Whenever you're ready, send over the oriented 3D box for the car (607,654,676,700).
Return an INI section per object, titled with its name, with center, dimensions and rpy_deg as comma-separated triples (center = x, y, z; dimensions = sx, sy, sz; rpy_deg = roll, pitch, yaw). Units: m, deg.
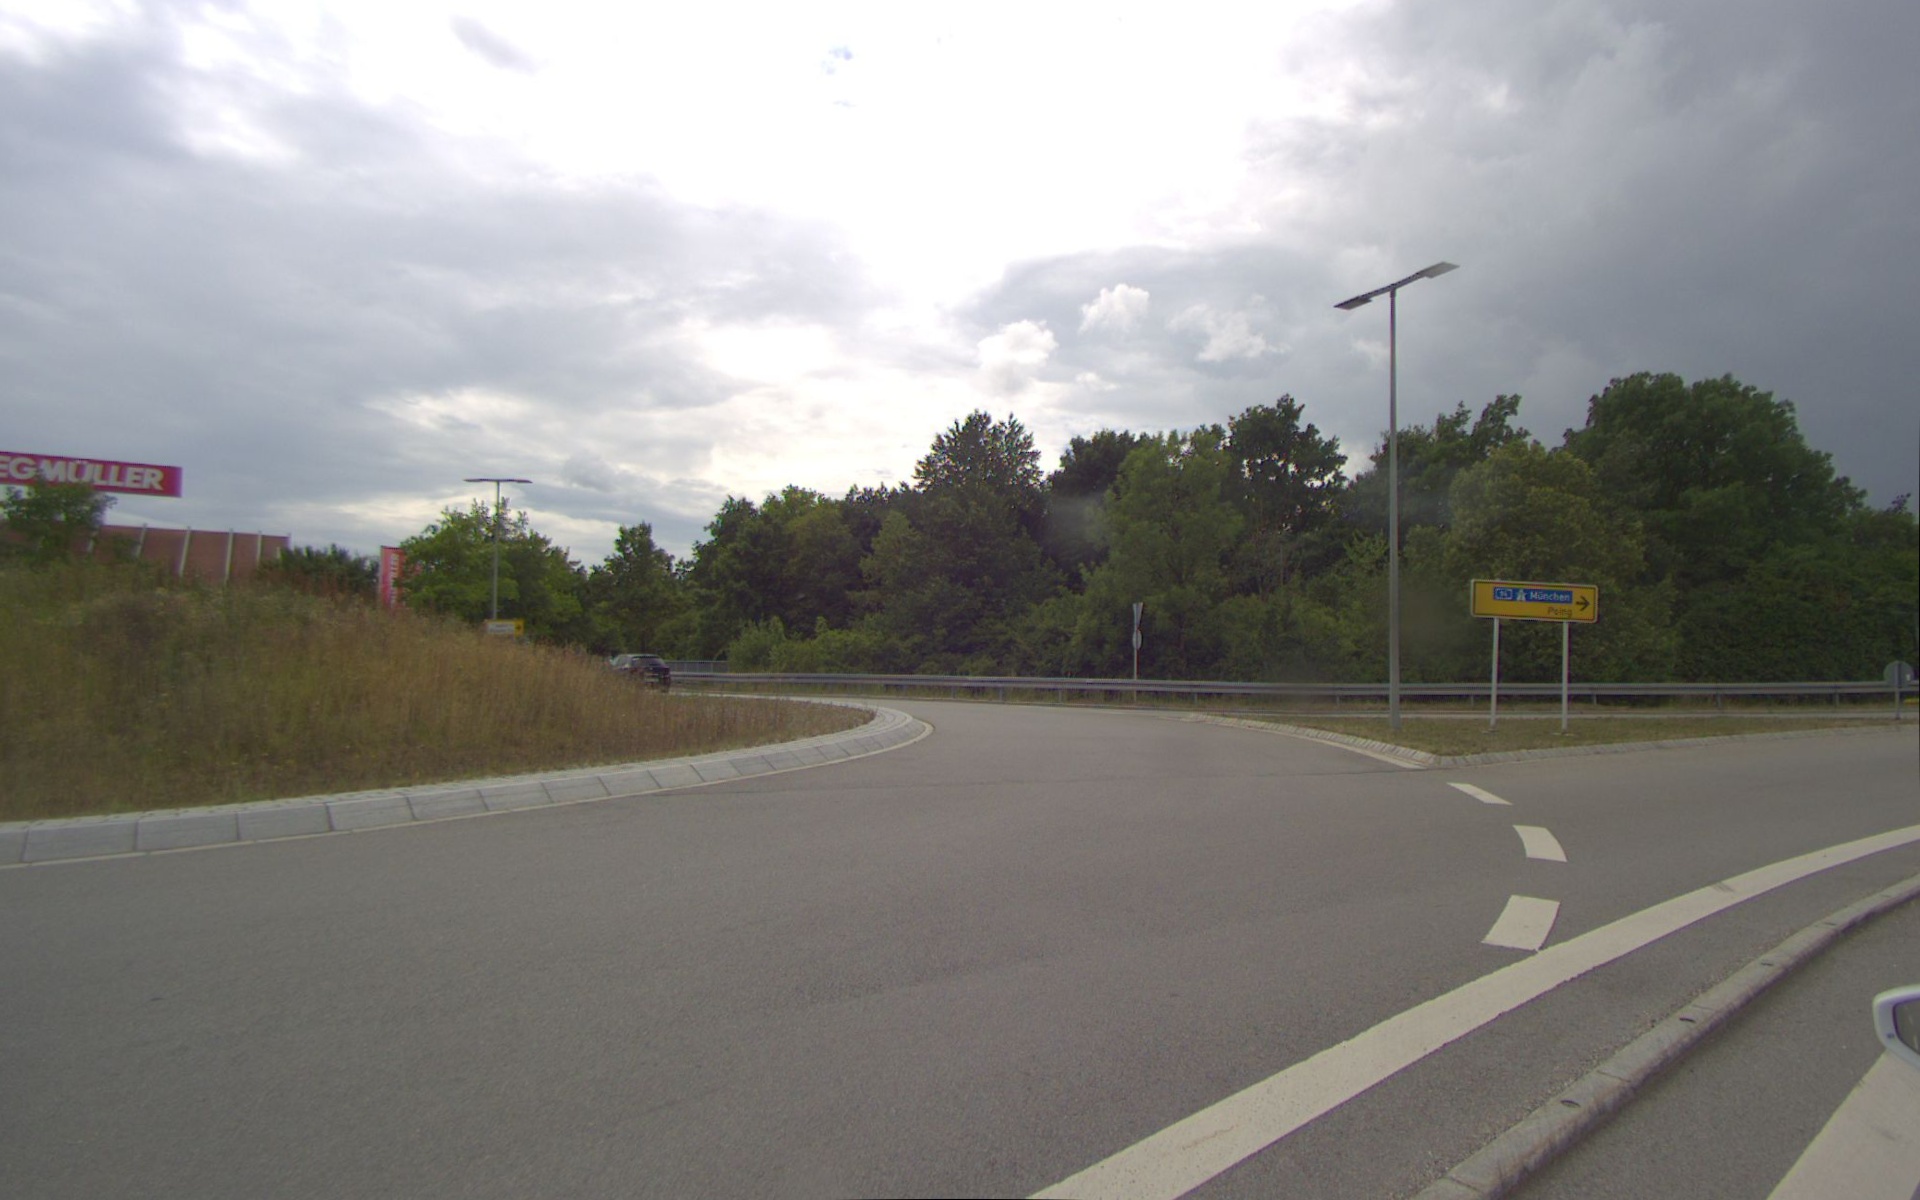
[car]
center = -11.793, 2.811, 37.106
dimensions = 1.548, 1.529, 3.281
rpy_deg = 3, -3, -34
